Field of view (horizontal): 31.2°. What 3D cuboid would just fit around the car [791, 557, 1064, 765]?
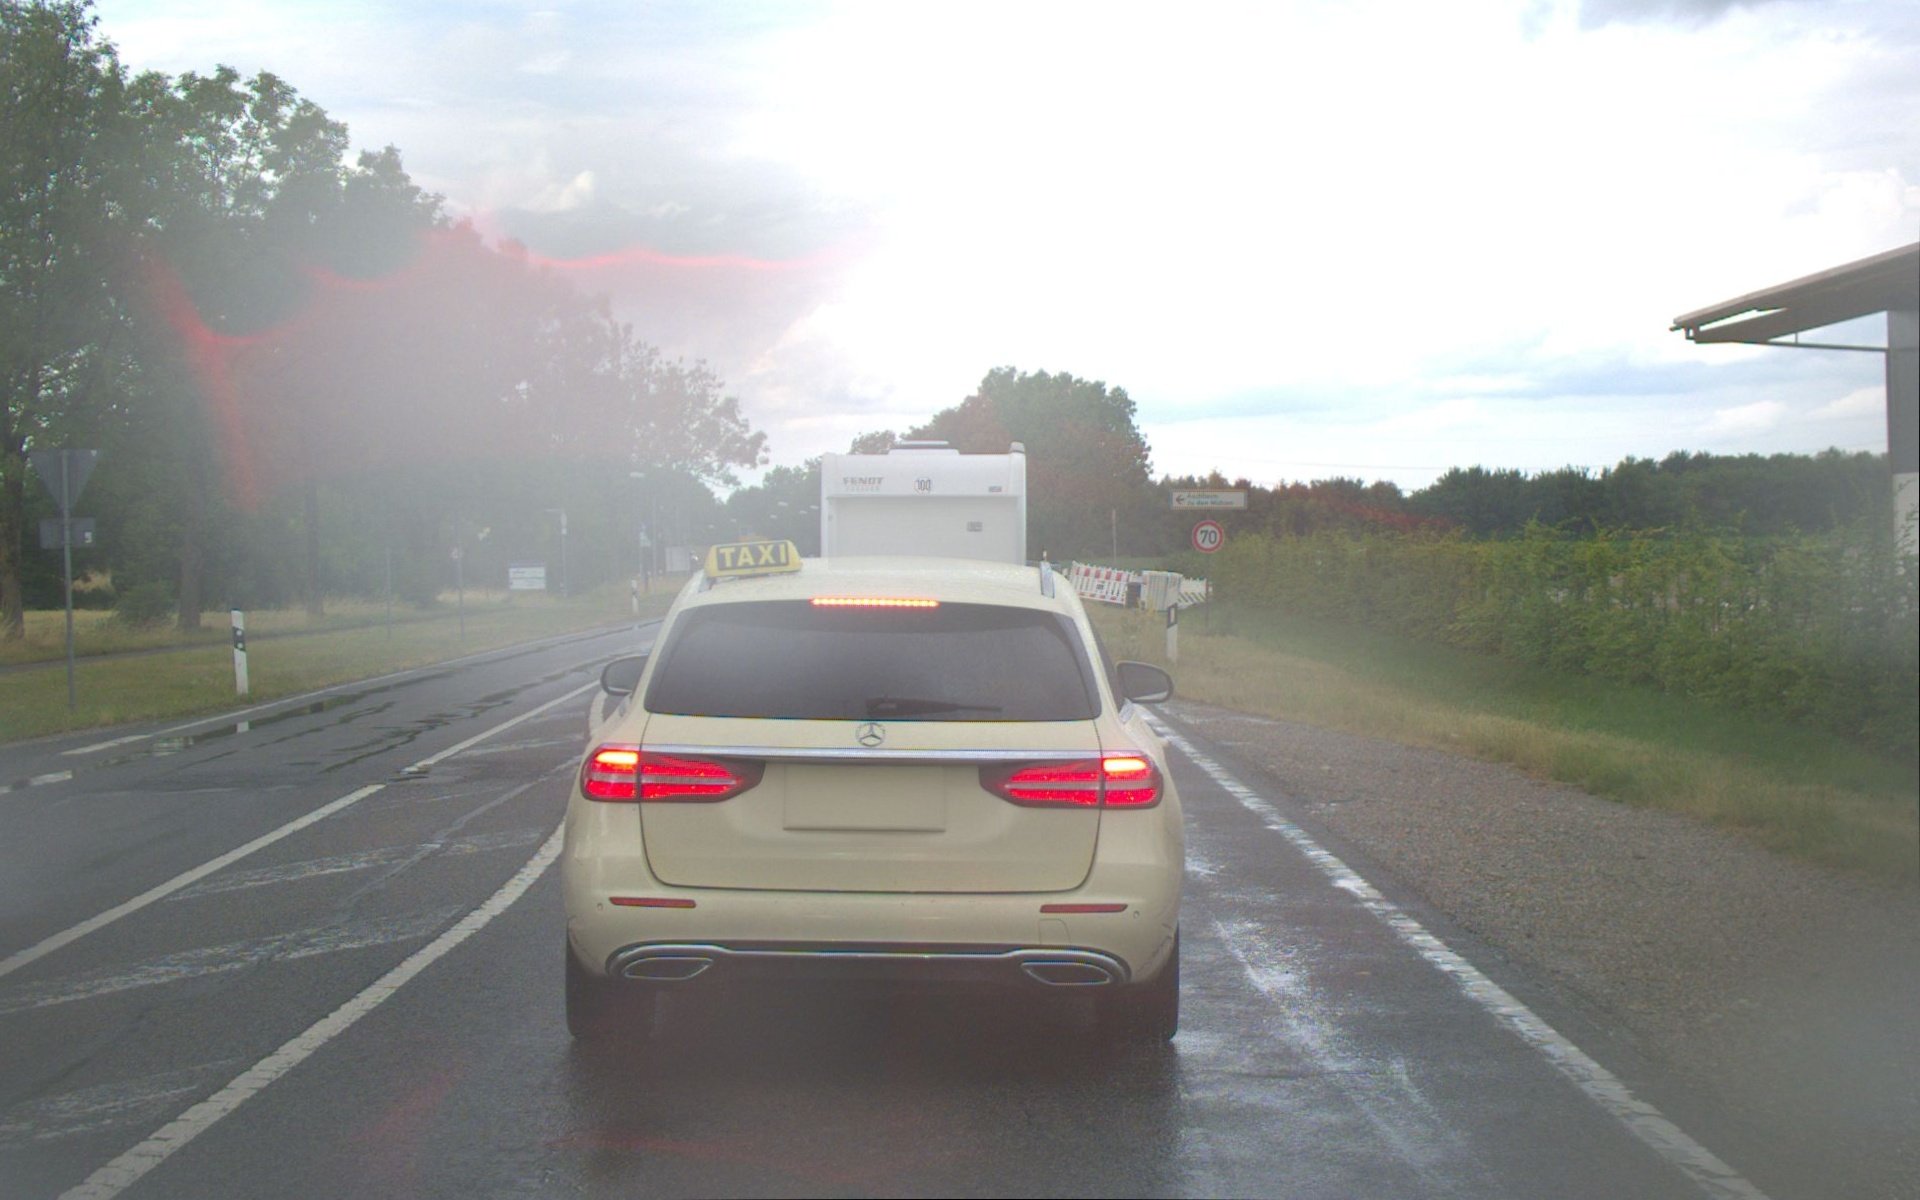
[{"bbox_3d":[-0.276,0.397,25.857,1.894,1.424,3.928,0,1,-1],"label":"car"}]

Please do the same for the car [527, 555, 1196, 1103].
[{"bbox_3d":[-0.270,0.590,11.267,1.797,1.459,4.031,0,1,0],"label":"car"}]

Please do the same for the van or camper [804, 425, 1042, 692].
[{"bbox_3d":[-0.388,-0.488,40.350,2.497,2.821,5.934,-2,1,0],"label":"van or camper"}]
